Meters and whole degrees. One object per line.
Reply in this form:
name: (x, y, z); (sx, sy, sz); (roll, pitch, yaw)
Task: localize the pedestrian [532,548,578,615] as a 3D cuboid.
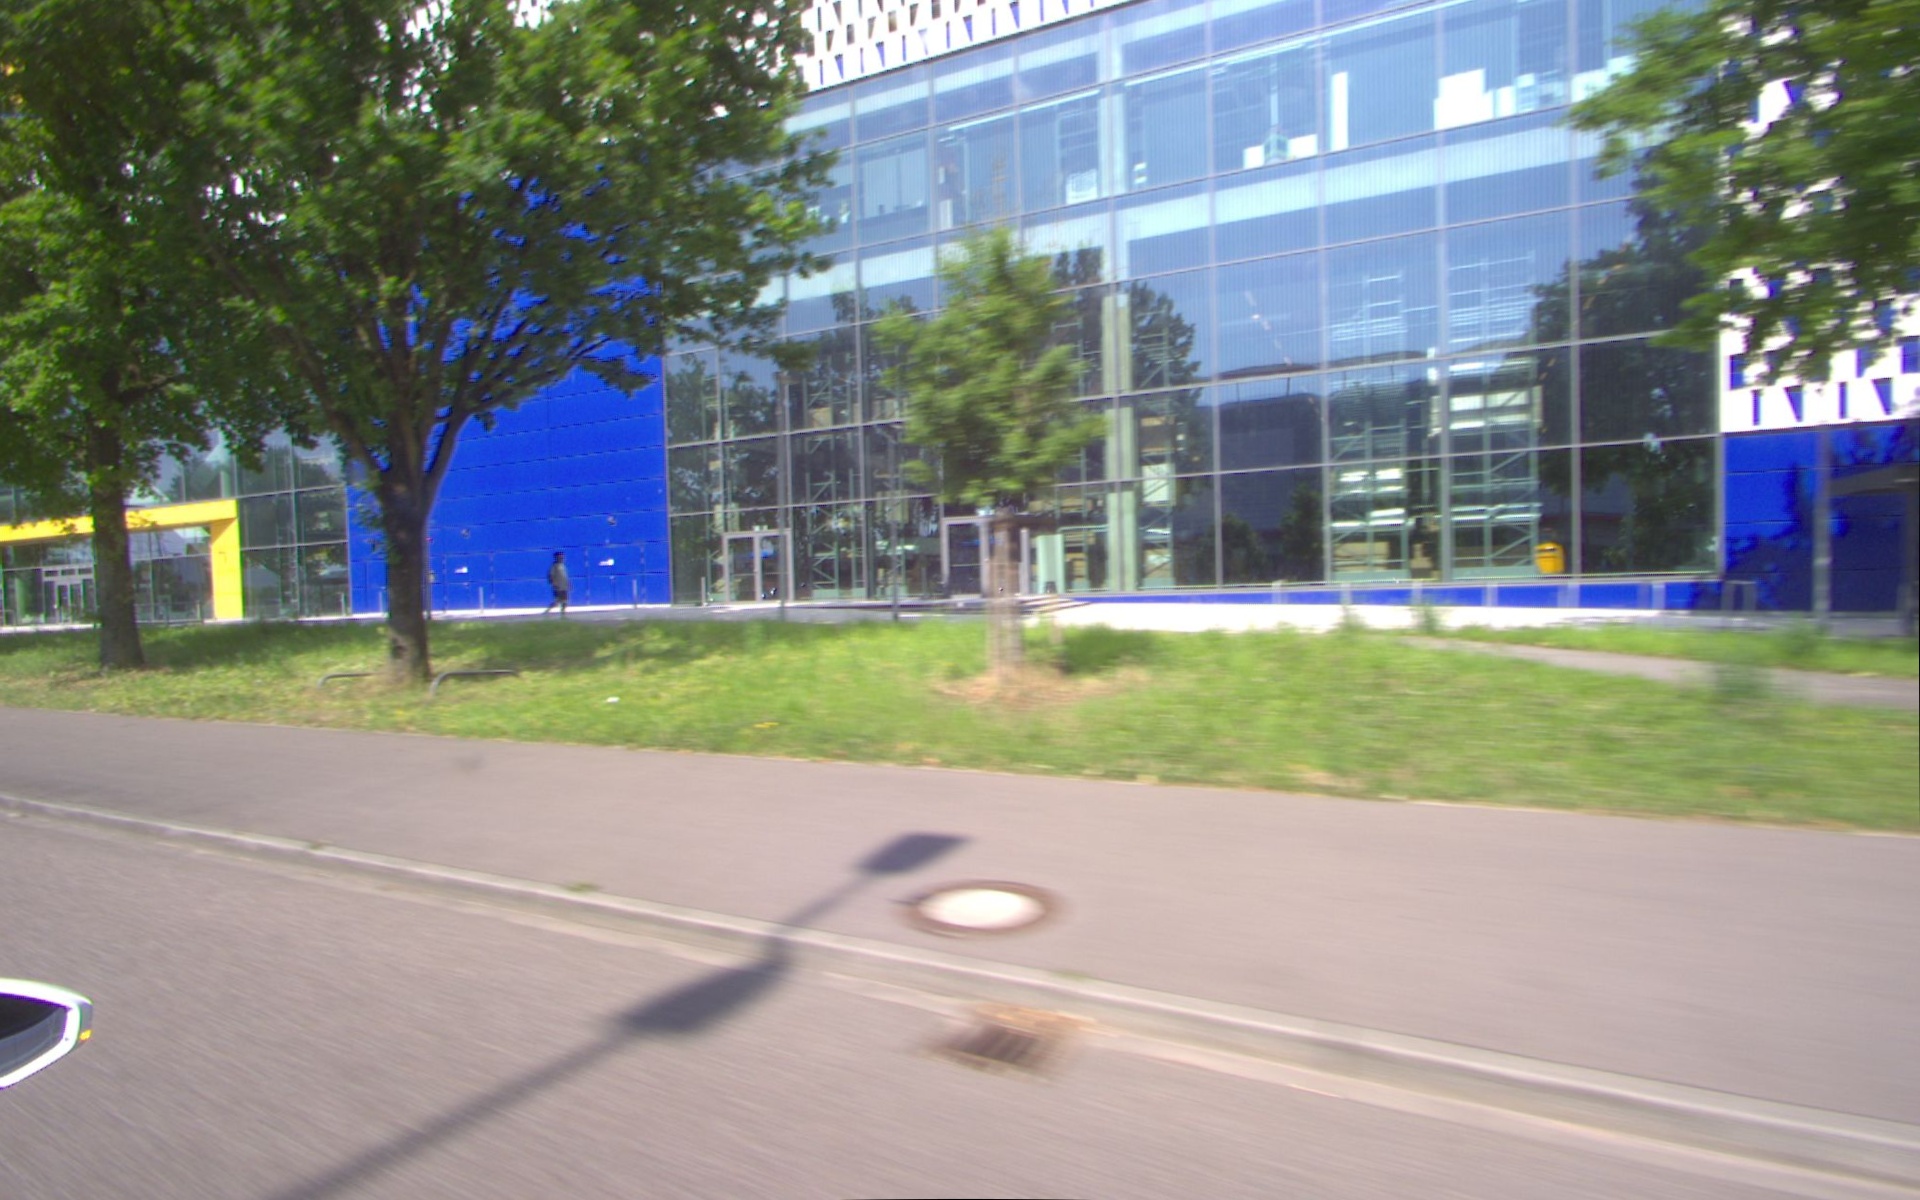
pedestrian: (-10.150, -0.465, 25.123); (0.758, 1.634, 0.688); (0, 3, 23)
